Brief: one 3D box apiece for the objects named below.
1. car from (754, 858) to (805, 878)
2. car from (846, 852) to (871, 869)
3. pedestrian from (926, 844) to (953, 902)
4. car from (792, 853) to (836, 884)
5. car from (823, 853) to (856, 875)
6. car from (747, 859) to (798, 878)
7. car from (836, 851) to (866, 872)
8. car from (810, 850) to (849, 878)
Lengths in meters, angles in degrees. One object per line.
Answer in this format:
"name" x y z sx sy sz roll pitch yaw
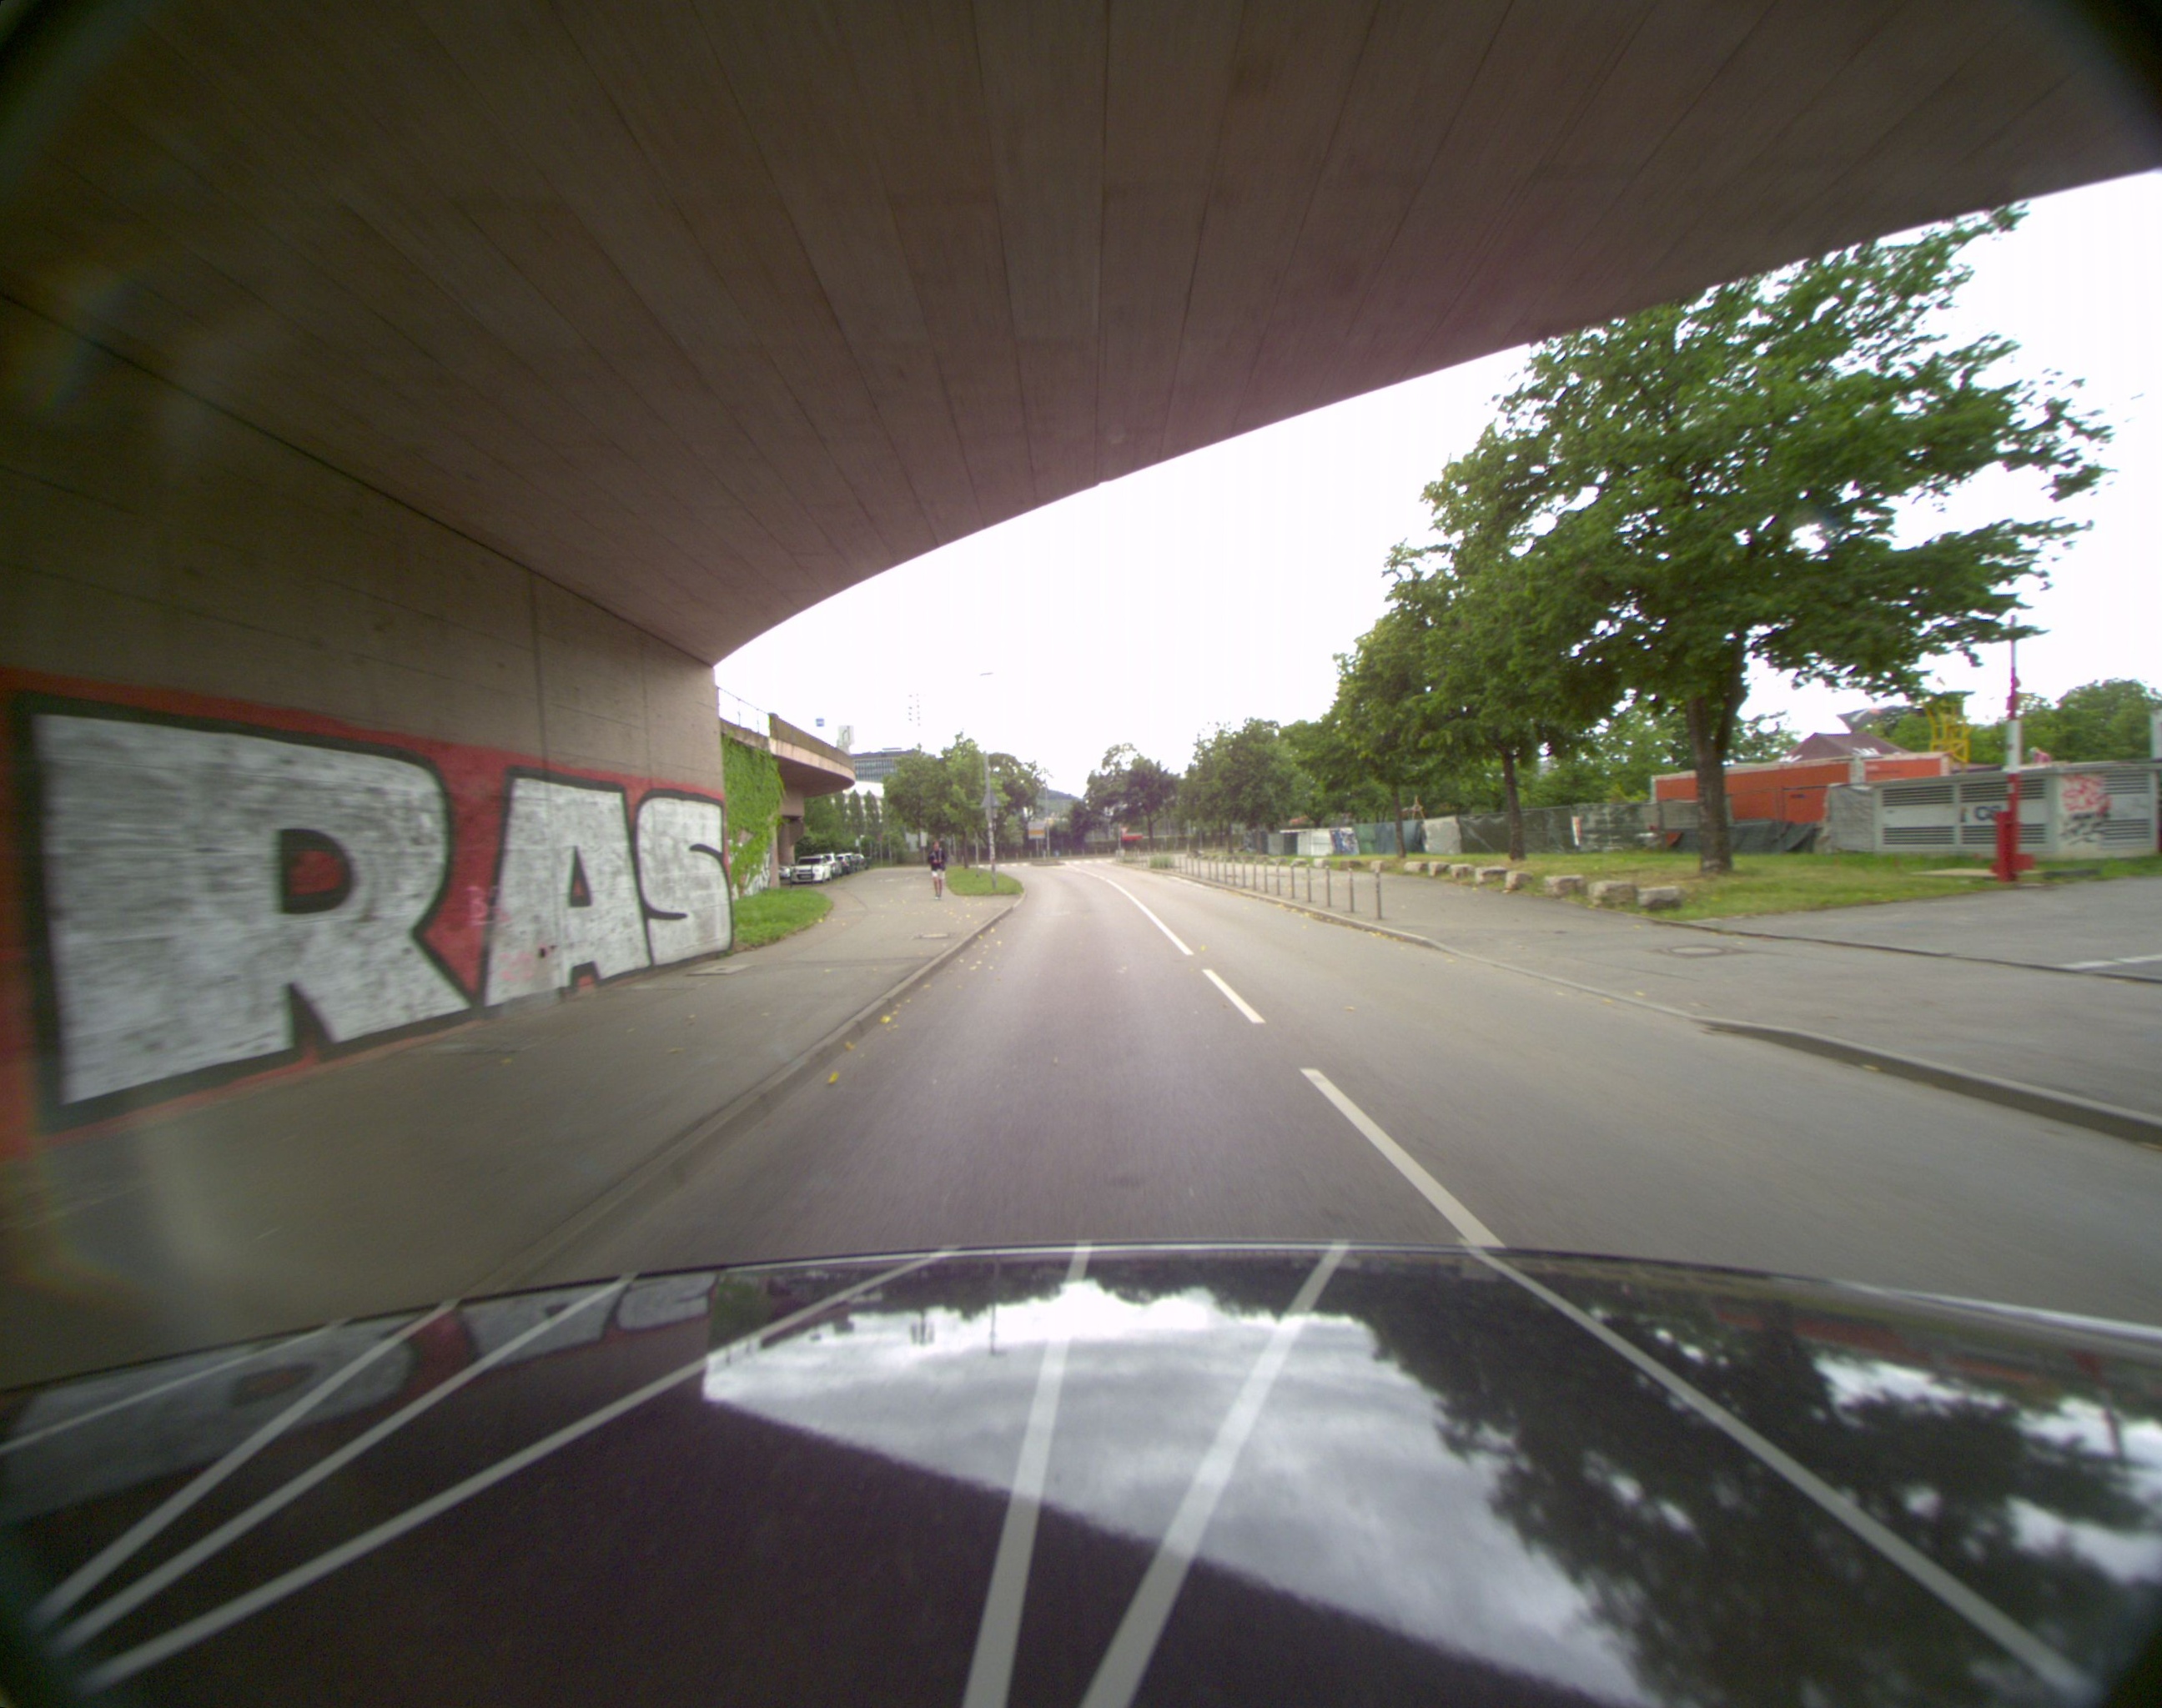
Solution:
"car" -24.174 1.104 61.033 3.474 1.376 1.423 -2 2 -7
"car" -18.260 0.503 62.403 1.628 1.231 4.054 -3 1 -12
"pedestrian" -4.646 0.602 24.951 0.822 1.869 1.179 -1 1 -10
"car" -14.327 0.727 40.929 1.611 1.437 3.472 -3 2 -10
"car" -16.319 0.664 51.490 1.628 1.308 3.772 -5 1 -11
"car" -23.695 1.093 58.396 3.313 1.297 1.486 -2 2 -6
"car" -17.217 0.533 56.916 1.628 1.366 4.172 -8 2 -12
"car" -15.292 0.578 46.360 1.616 1.522 3.913 -4 1 -11
